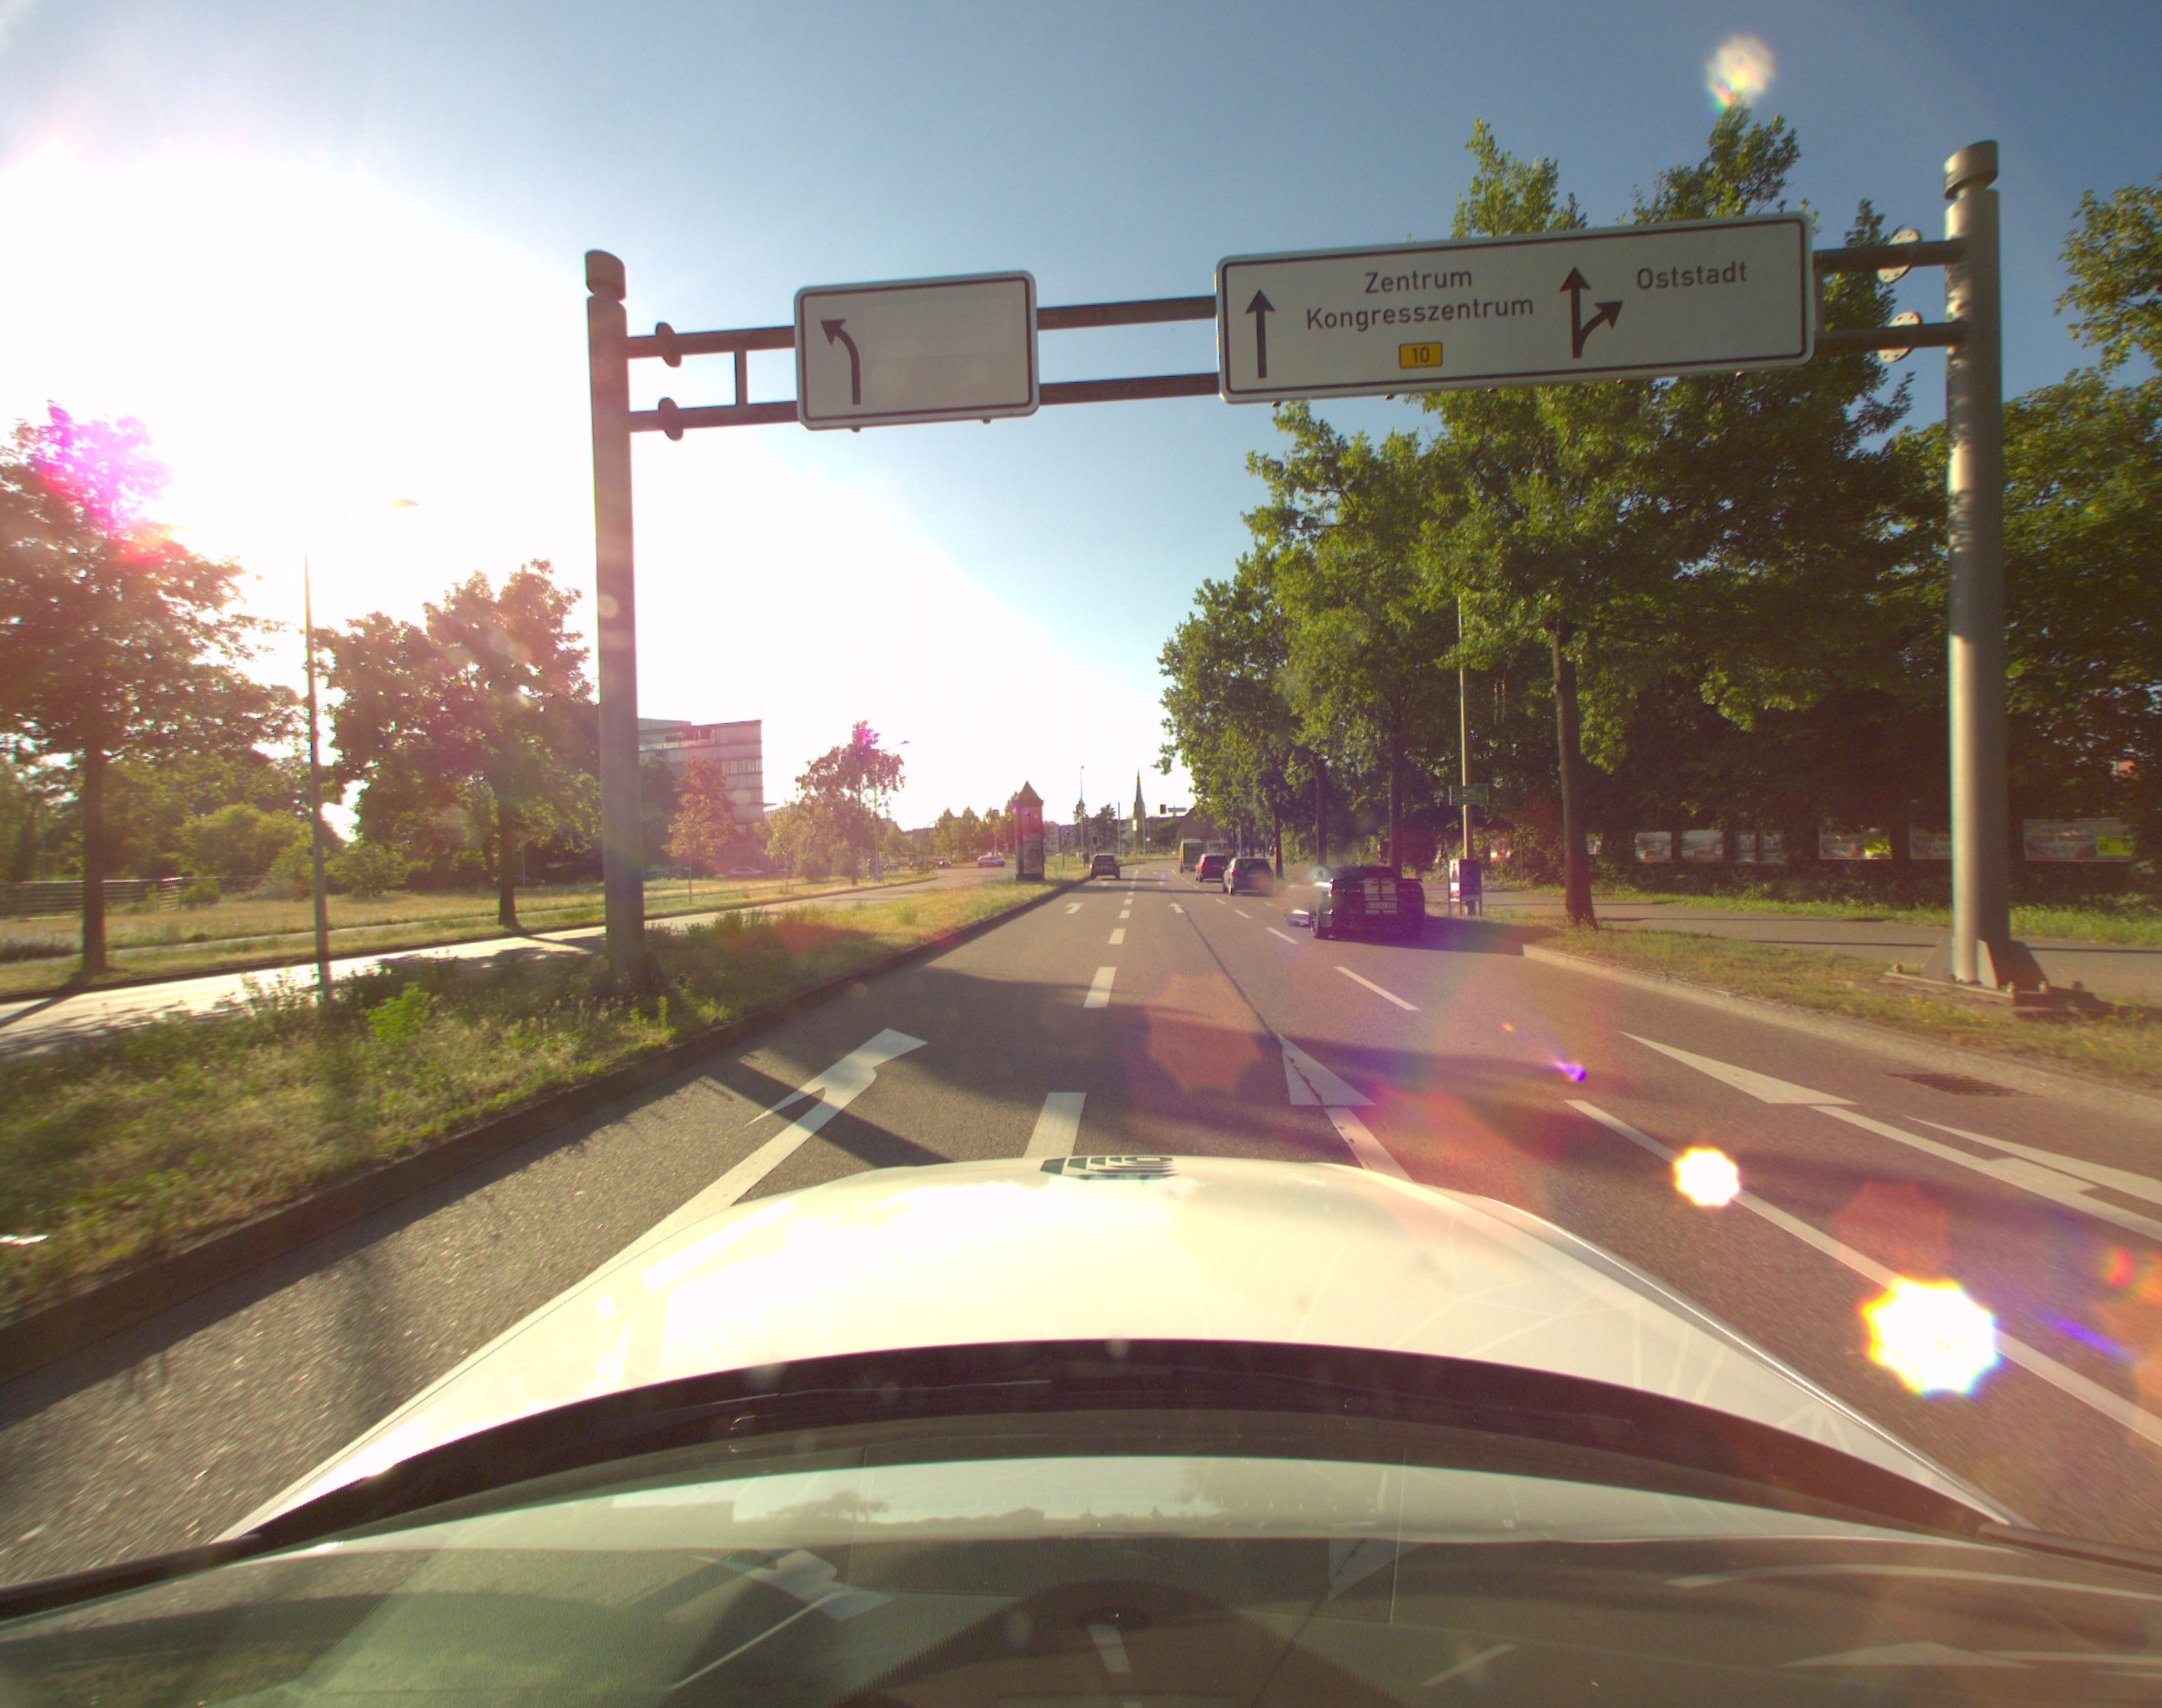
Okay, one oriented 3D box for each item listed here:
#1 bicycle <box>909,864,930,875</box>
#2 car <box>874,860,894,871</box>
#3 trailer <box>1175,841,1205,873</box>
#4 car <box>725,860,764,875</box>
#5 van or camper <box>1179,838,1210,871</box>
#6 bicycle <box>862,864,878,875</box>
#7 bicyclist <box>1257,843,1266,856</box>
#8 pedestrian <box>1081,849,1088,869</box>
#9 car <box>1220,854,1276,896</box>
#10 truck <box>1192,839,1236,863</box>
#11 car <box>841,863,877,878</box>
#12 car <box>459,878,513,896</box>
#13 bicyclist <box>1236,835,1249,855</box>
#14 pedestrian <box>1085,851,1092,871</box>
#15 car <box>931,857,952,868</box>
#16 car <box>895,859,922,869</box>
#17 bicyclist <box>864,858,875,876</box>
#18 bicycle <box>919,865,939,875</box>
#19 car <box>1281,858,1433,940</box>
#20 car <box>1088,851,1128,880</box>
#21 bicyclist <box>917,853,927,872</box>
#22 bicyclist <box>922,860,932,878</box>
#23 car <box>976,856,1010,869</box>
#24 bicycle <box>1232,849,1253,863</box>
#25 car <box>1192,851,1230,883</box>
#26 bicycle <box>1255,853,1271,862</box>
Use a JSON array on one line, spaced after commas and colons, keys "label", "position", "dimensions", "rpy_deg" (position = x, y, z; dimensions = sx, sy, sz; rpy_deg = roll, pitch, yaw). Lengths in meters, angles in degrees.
[{"label": "bicycle", "position": [-15.473, 1.456, 78.076], "dimensions": [1.892, 1.019, 0.507], "rpy_deg": [-1, 0, 19]}, {"label": "car", "position": [-27.761, 1.609, 114.803], "dimensions": [1.660, 1.441, 3.619], "rpy_deg": [-3, 1, 3]}, {"label": "trailer", "position": [8.488, 0.234, 63.636], "dimensions": [2.080, 2.400, 3.505], "rpy_deg": [-1, 0, 4]}, {"label": "car", "position": [-37.772, 1.541, 91.463], "dimensions": [3.727, 1.508, 1.854], "rpy_deg": [-2, 0, -39]}, {"label": "van or camper", "position": [9.650, -0.013, 69.803], "dimensions": [2.274, 2.629, 6.593], "rpy_deg": [-1, 1, 5]}, {"label": "bicycle", "position": [-20.693, 1.522, 79.918], "dimensions": [0.729, 1.118, 1.802], "rpy_deg": [-2, 0, -41]}, {"label": "bicyclist", "position": [17.497, -0.431, 78.912], "dimensions": [0.649, 1.294, 0.464], "rpy_deg": [-3, 1, -14]}, {"label": "pedestrian", "position": [0.335, 0.429, 74.807], "dimensions": [0.483, 1.844, 0.721], "rpy_deg": [-1, 0, 6]}, {"label": "car", "position": [6.564, 0.777, 32.369], "dimensions": [1.739, 1.473, 3.826], "rpy_deg": [-2, 0, 5]}, {"label": "truck", "position": [15.057, -0.387, 92.023], "dimensions": [2.555, 2.558, 6.292], "rpy_deg": [-2, 0, 32]}, {"label": "car", "position": [-26.817, 1.983, 98.378], "dimensions": [3.981, 1.508, 1.834], "rpy_deg": [-2, 0, -24]}, {"label": "car", "position": [-56.015, 3.085, 76.654], "dimensions": [4.013, 1.508, 1.854], "rpy_deg": [-2, 0, -39]}, {"label": "bicyclist", "position": [15.473, -0.881, 77.880], "dimensions": [0.927, 1.899, 0.605], "rpy_deg": [-4, -1, 40]}, {"label": "pedestrian", "position": [0.677, 0.688, 75.796], "dimensions": [0.483, 1.844, 0.673], "rpy_deg": [-2, 0, 7]}, {"label": "car", "position": [-19.122, 1.125, 111.607], "dimensions": [1.911, 1.444, 4.109], "rpy_deg": [-2, 0, -22]}, {"label": "car", "position": [-26.065, 1.548, 123.225], "dimensions": [4.095, 1.376, 1.683], "rpy_deg": [-3, 1, 36]}, {"label": "bicyclist", "position": [-20.735, 1.280, 79.947], "dimensions": [0.714, 1.666, 0.821], "rpy_deg": [-2, 0, -41]}, {"label": "bicycle", "position": [-14.818, 1.566, 79.303], "dimensions": [1.896, 1.019, 0.506], "rpy_deg": [-1, 0, 11]}, {"label": "car", "position": [5.152, 0.763, 15.879], "dimensions": [1.845, 1.338, 4.633], "rpy_deg": [-1, 0, 6]}, {"label": "car", "position": [1.765, 0.691, 51.390], "dimensions": [1.893, 1.660, 4.012], "rpy_deg": [-2, 0, 11]}, {"label": "bicyclist", "position": [-15.256, 0.826, 78.003], "dimensions": [0.806, 1.770, 0.499], "rpy_deg": [-1, 0, 19]}, {"label": "bicyclist", "position": [-14.974, 1.453, 79.365], "dimensions": [0.807, 1.789, 0.498], "rpy_deg": [-1, 0, 12]}, {"label": "car", "position": [-10.989, 1.082, 101.250], "dimensions": [3.712, 1.434, 1.847], "rpy_deg": [-2, 0, 25]}, {"label": "bicycle", "position": [15.429, 0.180, 77.956], "dimensions": [1.885, 1.244, 0.613], "rpy_deg": [-4, -1, 40]}, {"label": "car", "position": [7.378, 0.705, 46.624], "dimensions": [1.740, 1.620, 3.823], "rpy_deg": [-1, 1, 3]}, {"label": "bicycle", "position": [17.646, 0.344, 78.936], "dimensions": [1.461, 0.786, 0.438], "rpy_deg": [-4, 1, -14]}]
